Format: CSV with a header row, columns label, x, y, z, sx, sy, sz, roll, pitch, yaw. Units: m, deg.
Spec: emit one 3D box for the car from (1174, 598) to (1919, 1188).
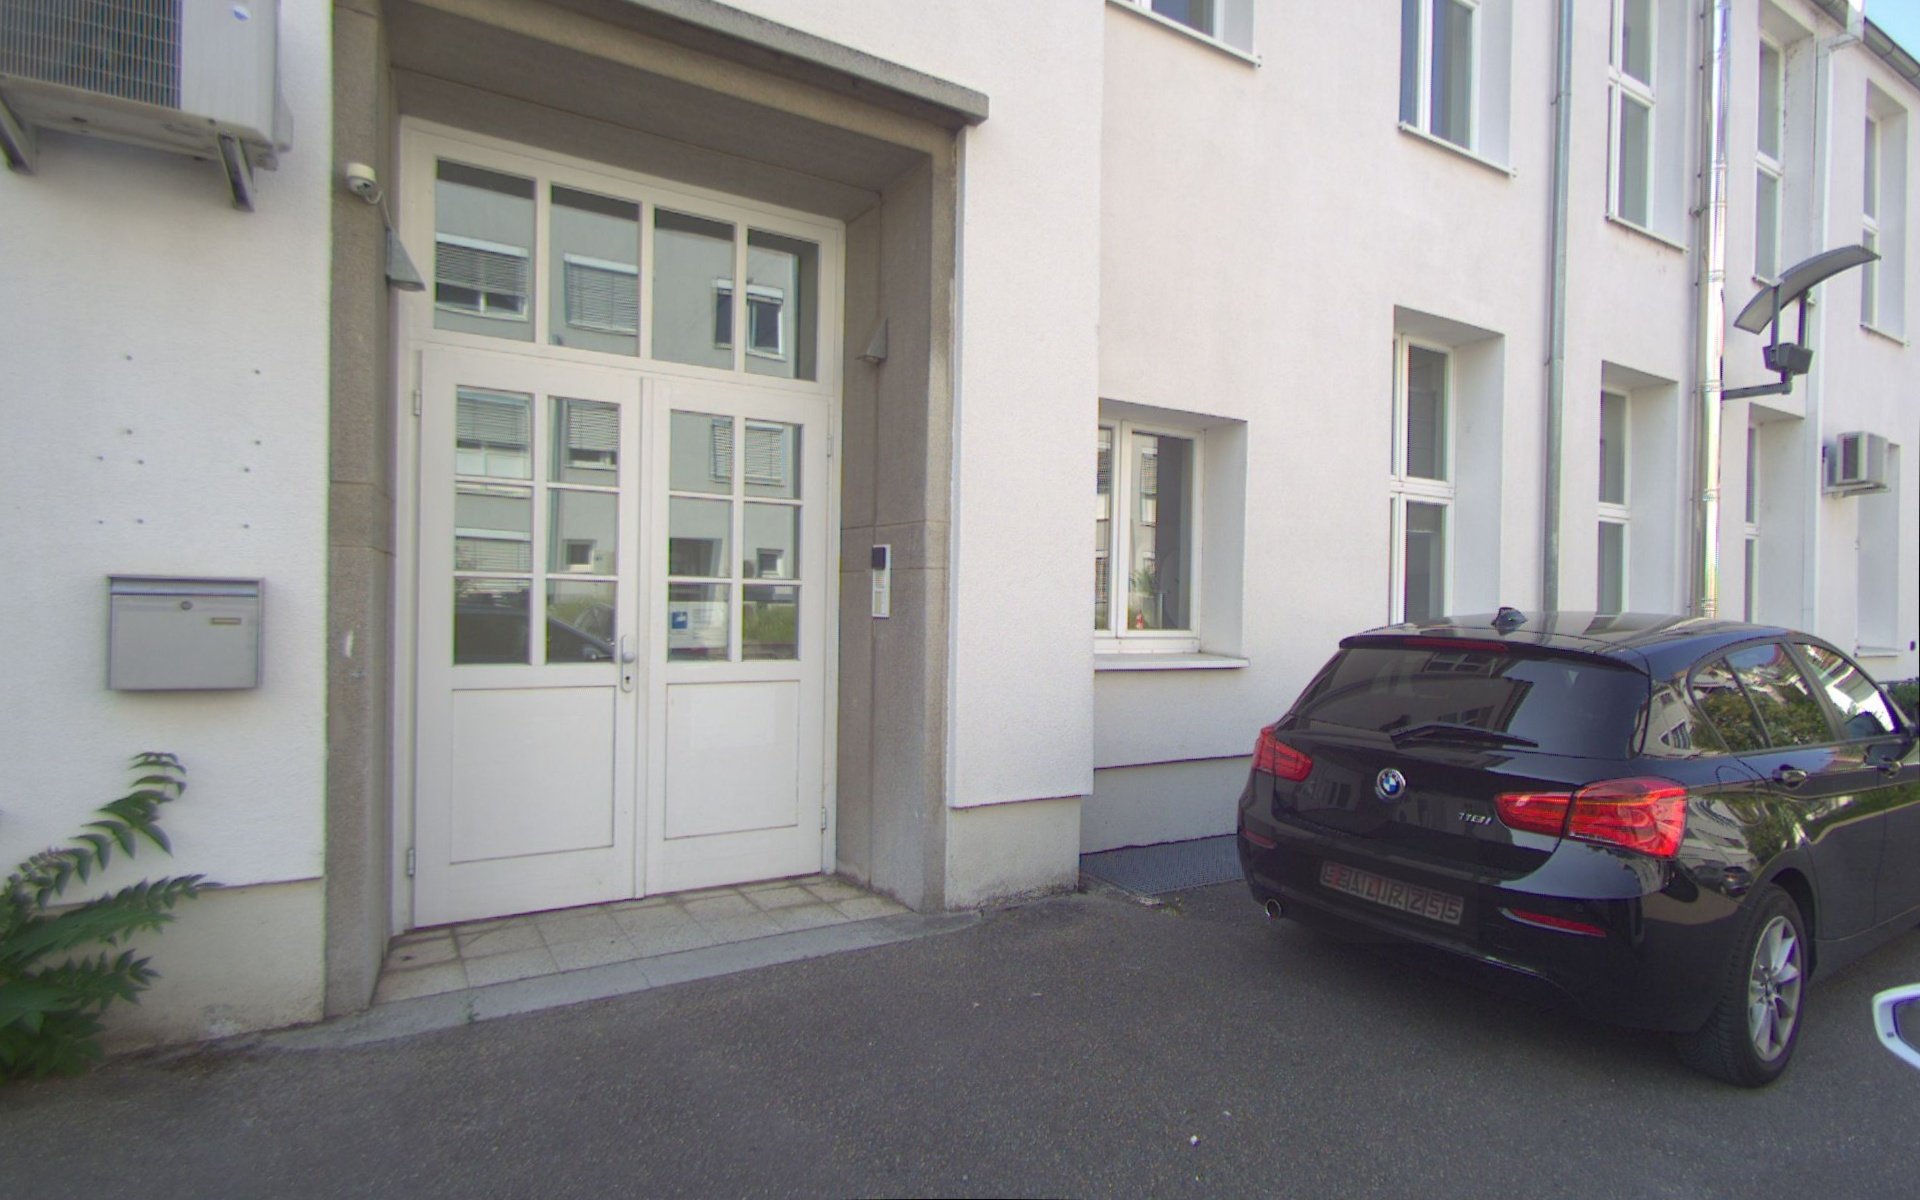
label,x,y,z,sx,sy,sz,roll,pitch,yaw
car,2.933,0.793,4.317,3.881,1.478,1.678,2,0,-33
